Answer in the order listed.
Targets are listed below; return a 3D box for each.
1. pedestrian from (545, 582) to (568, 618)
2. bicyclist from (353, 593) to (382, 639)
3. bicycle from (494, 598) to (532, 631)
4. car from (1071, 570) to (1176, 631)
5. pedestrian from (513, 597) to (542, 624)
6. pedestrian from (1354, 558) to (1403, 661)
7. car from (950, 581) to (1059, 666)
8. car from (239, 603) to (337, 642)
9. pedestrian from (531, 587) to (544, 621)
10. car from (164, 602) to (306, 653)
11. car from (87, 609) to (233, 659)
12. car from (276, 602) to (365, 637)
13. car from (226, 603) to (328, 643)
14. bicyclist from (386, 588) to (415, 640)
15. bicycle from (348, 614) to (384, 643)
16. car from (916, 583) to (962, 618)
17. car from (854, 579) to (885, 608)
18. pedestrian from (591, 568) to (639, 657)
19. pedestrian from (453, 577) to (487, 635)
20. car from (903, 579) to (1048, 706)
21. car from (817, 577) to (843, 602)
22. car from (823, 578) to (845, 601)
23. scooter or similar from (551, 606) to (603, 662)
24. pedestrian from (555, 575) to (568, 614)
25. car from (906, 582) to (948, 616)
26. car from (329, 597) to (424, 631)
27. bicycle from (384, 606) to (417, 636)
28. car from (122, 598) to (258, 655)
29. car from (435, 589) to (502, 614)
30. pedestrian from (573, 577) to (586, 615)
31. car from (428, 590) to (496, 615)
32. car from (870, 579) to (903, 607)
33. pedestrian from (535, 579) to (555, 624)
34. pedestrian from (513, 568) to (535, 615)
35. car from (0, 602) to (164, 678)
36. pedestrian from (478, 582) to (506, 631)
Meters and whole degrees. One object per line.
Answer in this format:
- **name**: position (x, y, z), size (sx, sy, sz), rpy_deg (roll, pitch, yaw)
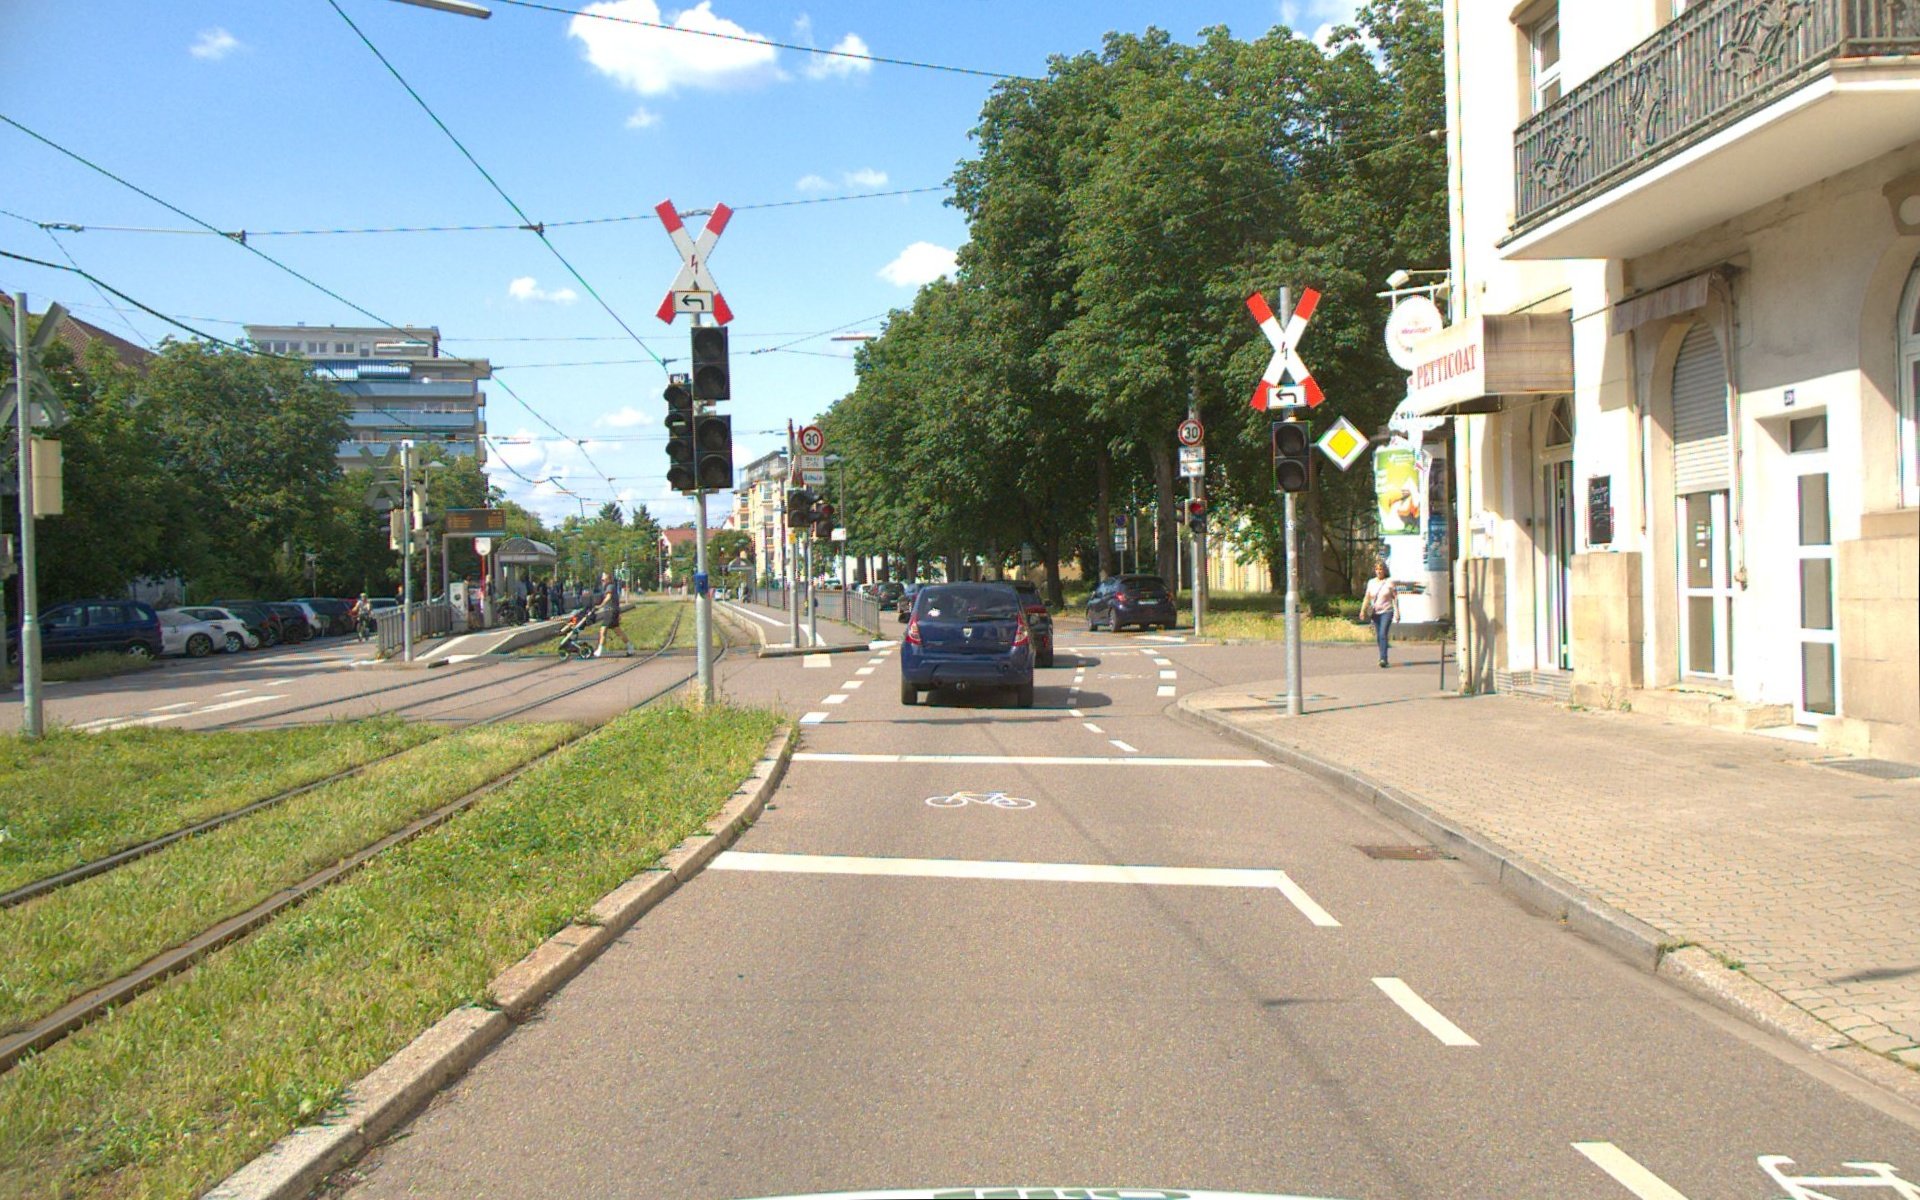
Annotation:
- **pedestrian**: position (-16.567, 0.011, 67.866), size (0.642, 1.450, 0.562), rpy_deg (-2, 1, 28)
- **bicyclist**: position (-21.751, 0.580, 60.717), size (0.770, 1.609, 0.862), rpy_deg (-2, 1, -6)
- **bicycle**: position (-14.983, 0.484, 55.478), size (0.672, 0.991, 1.771), rpy_deg (-4, 1, 1)
- **car**: position (4.247, 0.008, 43.529), size (1.733, 1.458, 3.895), rpy_deg (-3, 1, -10)
- **pedestrian**: position (-16.524, 0.402, 63.234), size (0.907, 1.006, 0.796), rpy_deg (-3, -1, -7)
- **pedestrian**: position (6.995, 0.161, 27.634), size (0.658, 1.677, 0.764), rpy_deg (-2, 0, 19)
- **car**: position (0.732, 0.367, 29.249), size (1.666, 1.392, 3.513), rpy_deg (0, 1, -3)
- **car**: position (-25.809, 0.856, 63.572), size (1.427, 1.332, 3.236), rpy_deg (-1, 1, 35)
- **pedestrian**: position (-18.846, 0.177, 73.772), size (0.480, 1.477, 0.461), rpy_deg (-3, 1, -19)
- **car**: position (-24.024, 0.899, 54.912), size (1.660, 1.482, 3.979), rpy_deg (-2, 1, 41)
- **car**: position (-22.478, 0.933, 46.557), size (1.517, 1.258, 3.369), rpy_deg (-1, 1, 42)
- **car**: position (-26.927, 0.826, 69.722), size (1.427, 1.332, 3.236), rpy_deg (-1, 1, 35)
- **car**: position (-25.158, 0.837, 61.016), size (1.425, 1.332, 3.238), rpy_deg (-1, 1, 33)
- **bicyclist**: position (-23.285, 0.584, 68.801), size (0.932, 2.048, 1.569), rpy_deg (-4, 0, -16)
- **bicycle**: position (-21.740, 1.035, 60.546), size (0.667, 0.987, 2.176), rpy_deg (-2, 1, -5)
- **car**: position (-0.986, 0.002, 75.870), size (1.824, 1.470, 3.997), rpy_deg (-3, 1, -4)
- **car**: position (-5.862, -0.413, 106.690), size (1.587, 1.780, 3.993), rpy_deg (-2, 1, -8)
- **pedestrian**: position (-7.311, 0.267, 35.074), size (0.855, 1.806, 1.001), rpy_deg (-3, 0, -10)
- **pedestrian**: position (-15.013, 0.179, 50.713), size (0.699, 1.756, 0.666), rpy_deg (-1, 1, 33)
- **car**: position (0.152, 0.483, 21.764), size (1.732, 1.487, 3.775), rpy_deg (-1, 1, -1)
- **car**: position (-9.807, -0.786, 125.154), size (1.794, 1.792, 3.997), rpy_deg (-2, 1, -4)
- **car**: position (-10.008, -0.853, 131.271), size (1.635, 1.802, 3.996), rpy_deg (-2, 1, -5)
- **scooter or similar**: position (-8.010, 0.705, 34.623), size (0.937, 1.083, 0.795), rpy_deg (-4, 1, -9)
- **pedestrian**: position (-17.767, -0.240, 73.701), size (0.480, 1.742, 0.461), rpy_deg (-2, 1, -19)
- **car**: position (-1.633, -0.067, 80.360), size (1.815, 1.542, 3.997), rpy_deg (-2, 1, -4)
- **car**: position (-28.092, 0.661, 79.725), size (1.684, 1.391, 3.980), rpy_deg (-2, 1, 40)
- **bicycle**: position (-23.263, 0.864, 68.822), size (1.135, 1.198, 1.780), rpy_deg (-3, 0, -15)
- **car**: position (-23.088, 0.782, 49.647), size (1.518, 1.531, 3.367), rpy_deg (-1, 1, 43)
- **car**: position (-32.607, 0.086, 109.767), size (3.969, 1.472, 1.700), rpy_deg (-2, 1, -44)
- **pedestrian**: position (-20.506, -0.223, 89.139), size (0.649, 2.049, 0.801), rpy_deg (-2, 0, -14)
- **car**: position (-31.476, 0.149, 104.634), size (1.606, 1.410, 3.986), rpy_deg (-1, 1, 36)
- **car**: position (-4.377, -0.443, 98.226), size (1.792, 1.564, 3.997), rpy_deg (-2, 1, -4)
- **pedestrian**: position (-16.878, 0.062, 67.204), size (0.592, 1.796, 0.639), rpy_deg (-2, 0, 0)
- **pedestrian**: position (-16.304, -0.331, 61.816), size (0.643, 1.722, 0.655), rpy_deg (-2, 1, -8)
- **car**: position (-21.993, 0.960, 40.552), size (1.695, 1.669, 4.109), rpy_deg (-1, 1, 41)
- **pedestrian**: position (-15.738, 0.222, 55.605), size (0.650, 1.596, 0.685), rpy_deg (-3, 1, -1)
